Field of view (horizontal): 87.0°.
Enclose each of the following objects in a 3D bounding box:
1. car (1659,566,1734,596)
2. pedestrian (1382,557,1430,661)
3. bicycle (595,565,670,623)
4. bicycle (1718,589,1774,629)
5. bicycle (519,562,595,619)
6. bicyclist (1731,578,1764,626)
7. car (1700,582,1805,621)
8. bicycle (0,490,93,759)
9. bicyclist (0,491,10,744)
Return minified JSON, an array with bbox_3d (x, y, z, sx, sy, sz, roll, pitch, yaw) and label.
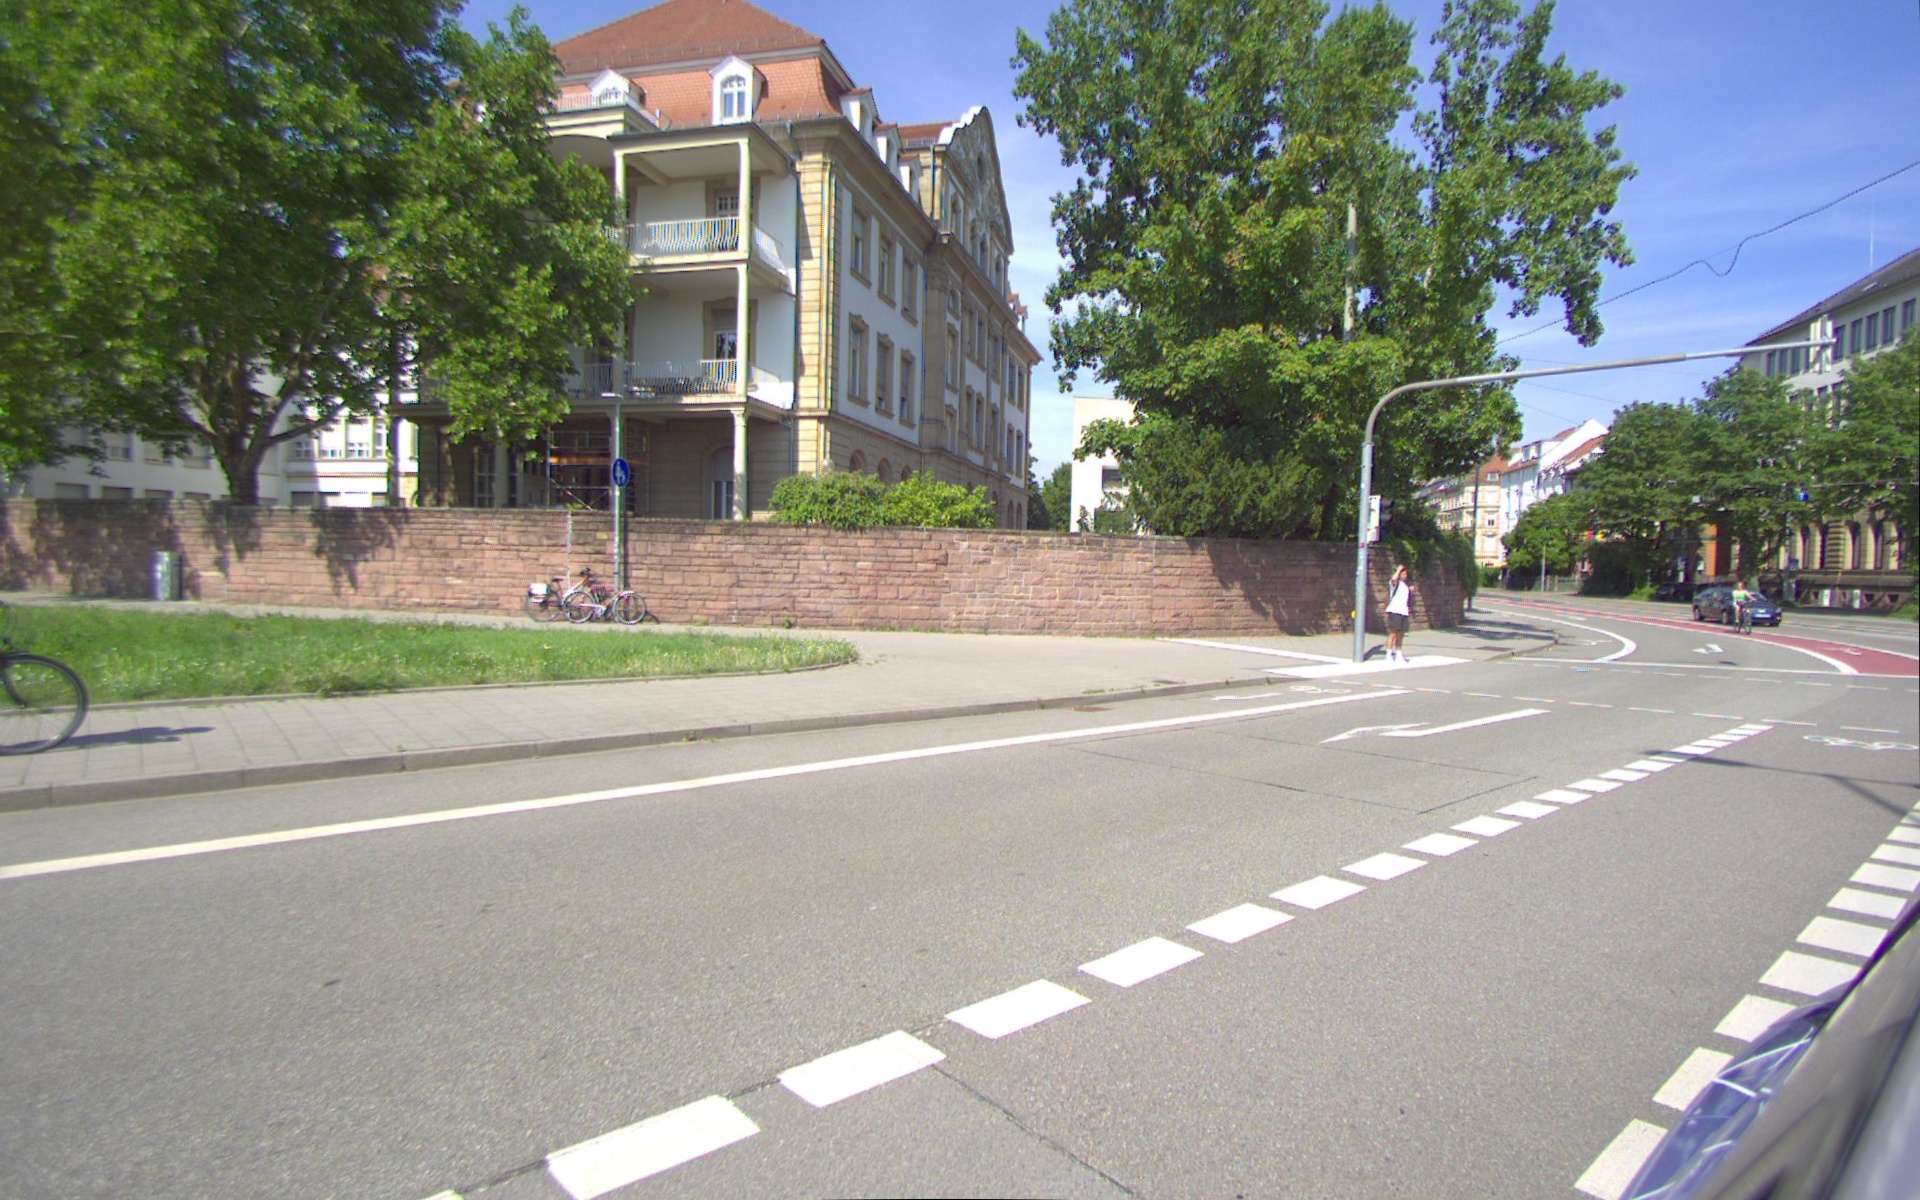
[{"bbox_3d":[55.464,-1.443,76.286,3.941,2.038,1.992,2,2,14],"label":"car"},{"bbox_3d":[8.481,0.152,19.241,0.649,1.897,0.788,4,3,31],"label":"pedestrian"},{"bbox_3d":[-6.754,-0.128,20.883,1.406,1.136,0.350,1,2,-6],"label":"bicycle"},{"bbox_3d":[26.477,0.273,34.147,0.677,1.237,2.176,2,2,16],"label":"bicycle"},{"bbox_3d":[-8.277,-0.198,20.787,1.406,1.136,0.350,1,2,-27],"label":"bicycle"},{"bbox_3d":[26.434,0.049,33.974,0.580,1.567,0.927,0,1,17],"label":"bicyclist"},{"bbox_3d":[31.151,0.019,39.939,1.778,1.393,4.255,1,2,16],"label":"car"},{"bbox_3d":[-6.899,0.150,6.684,1.779,1.787,0.679,0,3,-41],"label":"bicycle"},{"bbox_3d":[-6.901,0.102,6.665,0.903,1.675,0.679,0,3,-41],"label":"bicyclist"}]
